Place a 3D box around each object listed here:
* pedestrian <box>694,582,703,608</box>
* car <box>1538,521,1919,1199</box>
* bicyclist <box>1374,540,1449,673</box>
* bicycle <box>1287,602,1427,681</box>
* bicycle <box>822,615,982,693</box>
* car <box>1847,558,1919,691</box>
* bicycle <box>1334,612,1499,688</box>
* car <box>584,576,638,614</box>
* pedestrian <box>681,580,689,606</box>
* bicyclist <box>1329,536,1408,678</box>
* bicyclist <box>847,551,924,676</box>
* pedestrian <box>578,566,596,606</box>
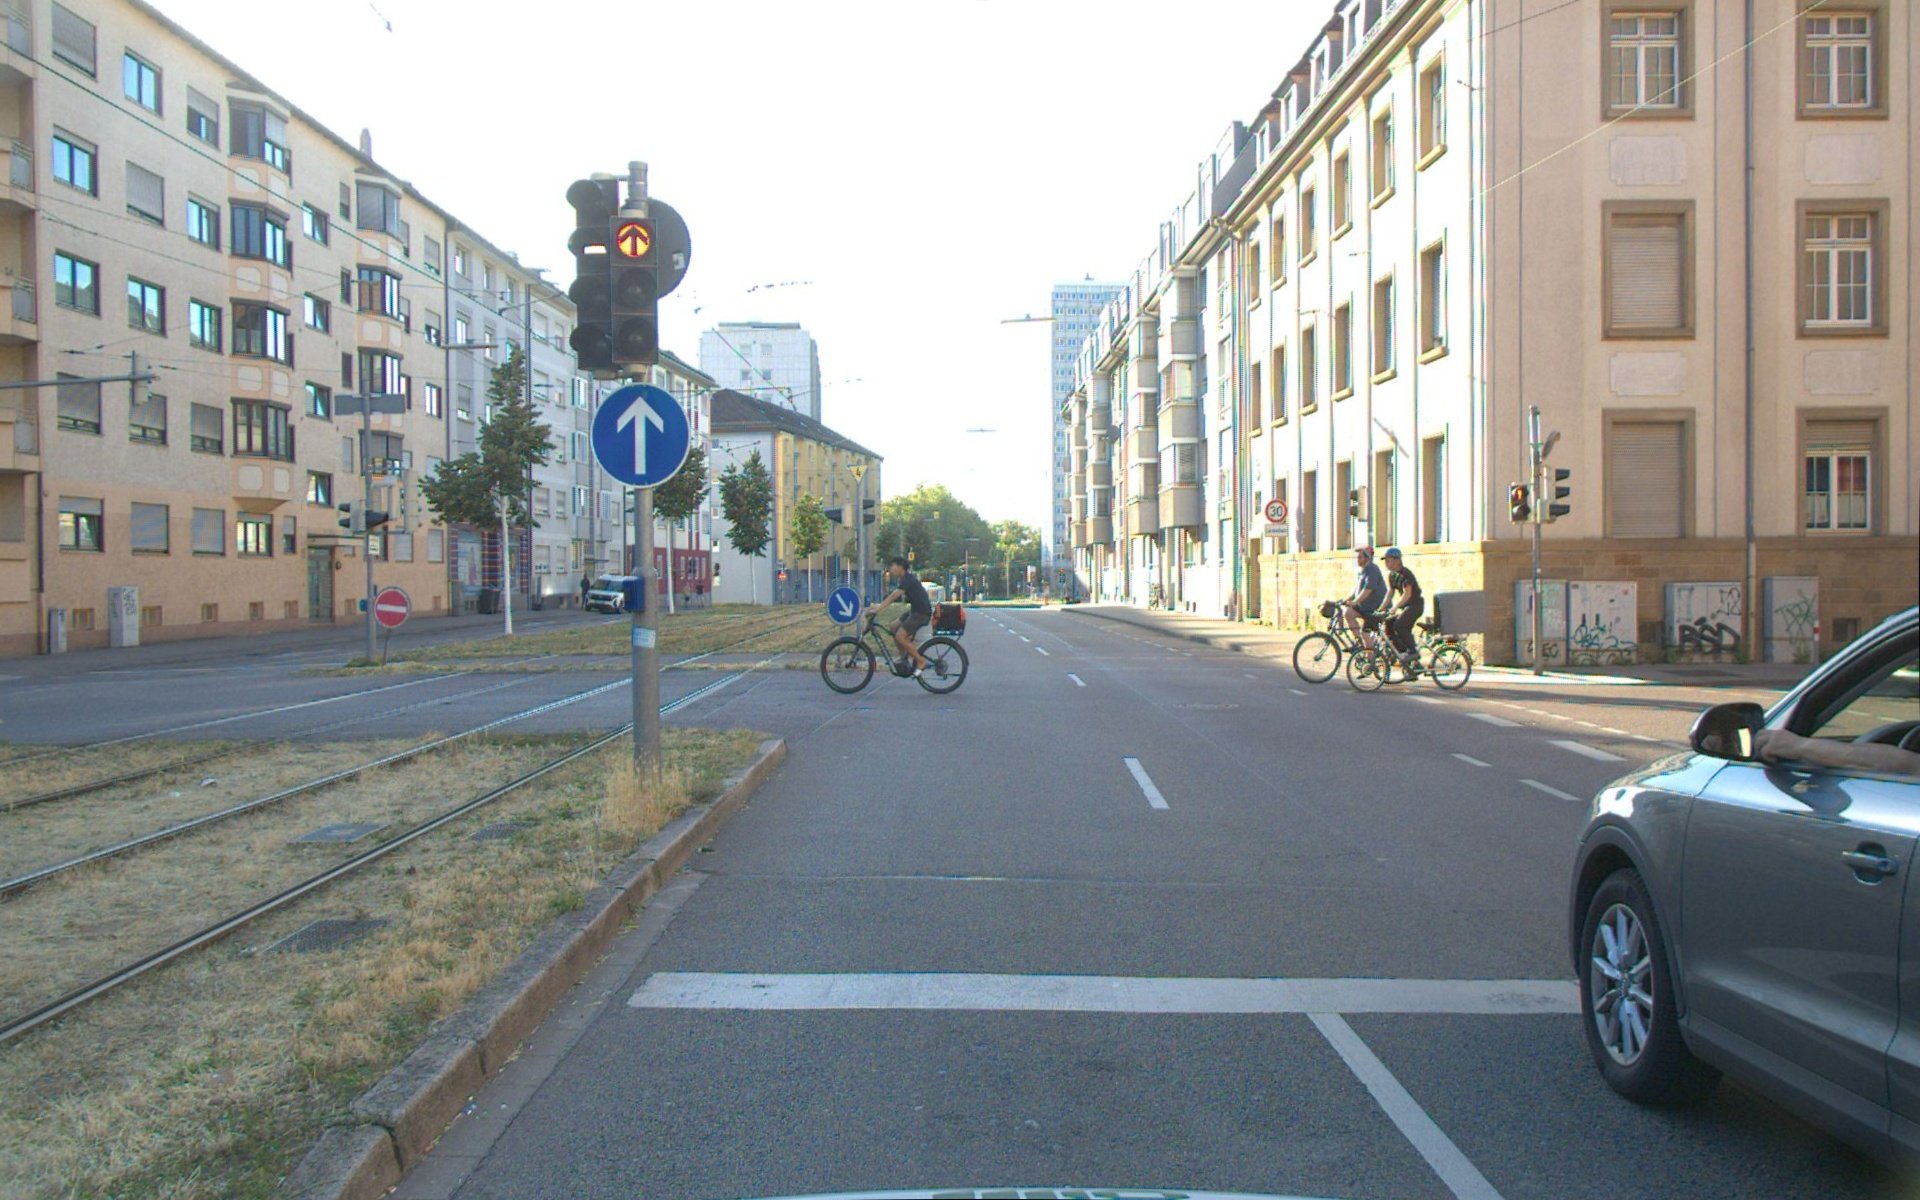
[{"bbox_3d":[-17.266,-0.339,109.161,0.485,1.687,0.408,-1,0,0],"label":"pedestrian"},{"bbox_3d":[2.835,0.626,3.517,1.734,1.603,4.085,-1,1,-1],"label":"car"},{"bbox_3d":[6.170,0.087,22.622,0.777,1.784,0.720,1,0,-3],"label":"bicyclist"},{"bbox_3d":[5.777,0.598,24.108,1.905,1.113,0.575,0,0,-4],"label":"bicycle"},{"bbox_3d":[-0.754,0.677,21.149,1.943,0.909,0.784,-2,0,-11],"label":"bicycle"},{"bbox_3d":[14.160,0.298,21.391,4.328,1.670,2.000,0,0,-1],"label":"car"},{"bbox_3d":[6.217,0.671,22.592,2.031,0.975,0.746,-1,0,-4],"label":"bicycle"},{"bbox_3d":[-17.589,-0.266,83.507,1.774,1.829,4.245,1,0,1],"label":"car"},{"bbox_3d":[-18.110,-0.443,108.921,0.485,1.687,0.408,-1,0,0],"label":"pedestrian"},{"bbox_3d":[5.953,0.093,24.150,0.940,2.023,0.672,-1,0,-3],"label":"bicyclist"},{"bbox_3d":[-0.955,0.163,21.104,0.887,1.553,0.646,-1,0,-11],"label":"bicyclist"},{"bbox_3d":[-19.418,-0.731,86.187,0.771,2.049,0.890,0,0,-4],"label":"pedestrian"}]
